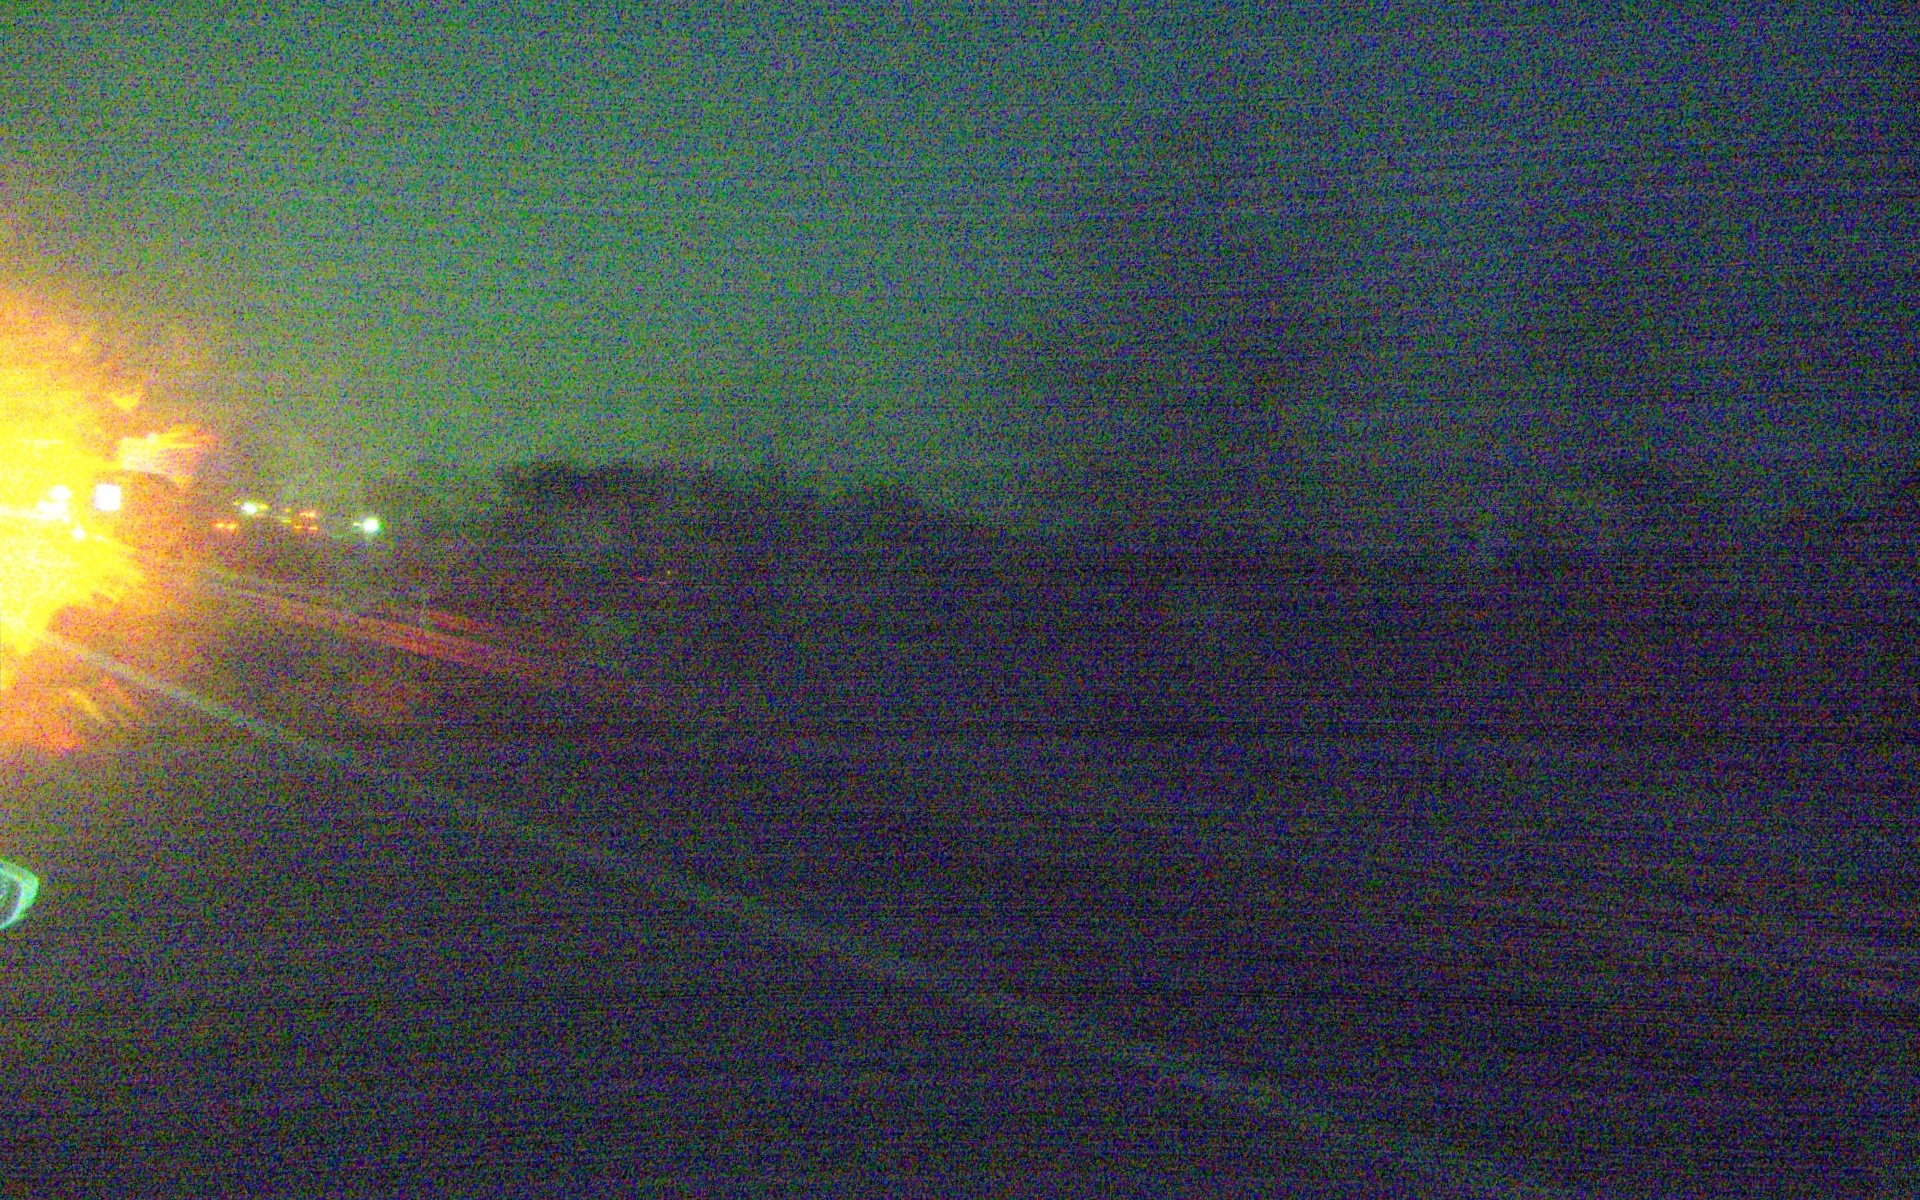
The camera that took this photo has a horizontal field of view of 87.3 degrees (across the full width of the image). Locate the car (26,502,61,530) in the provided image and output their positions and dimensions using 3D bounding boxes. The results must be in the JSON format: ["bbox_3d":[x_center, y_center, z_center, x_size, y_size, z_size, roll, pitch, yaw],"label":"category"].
[{"bbox_3d":[-77.388,-7.070,85.001,1.888,2.021,4.000,8,-1,-40],"label":"car"}]
